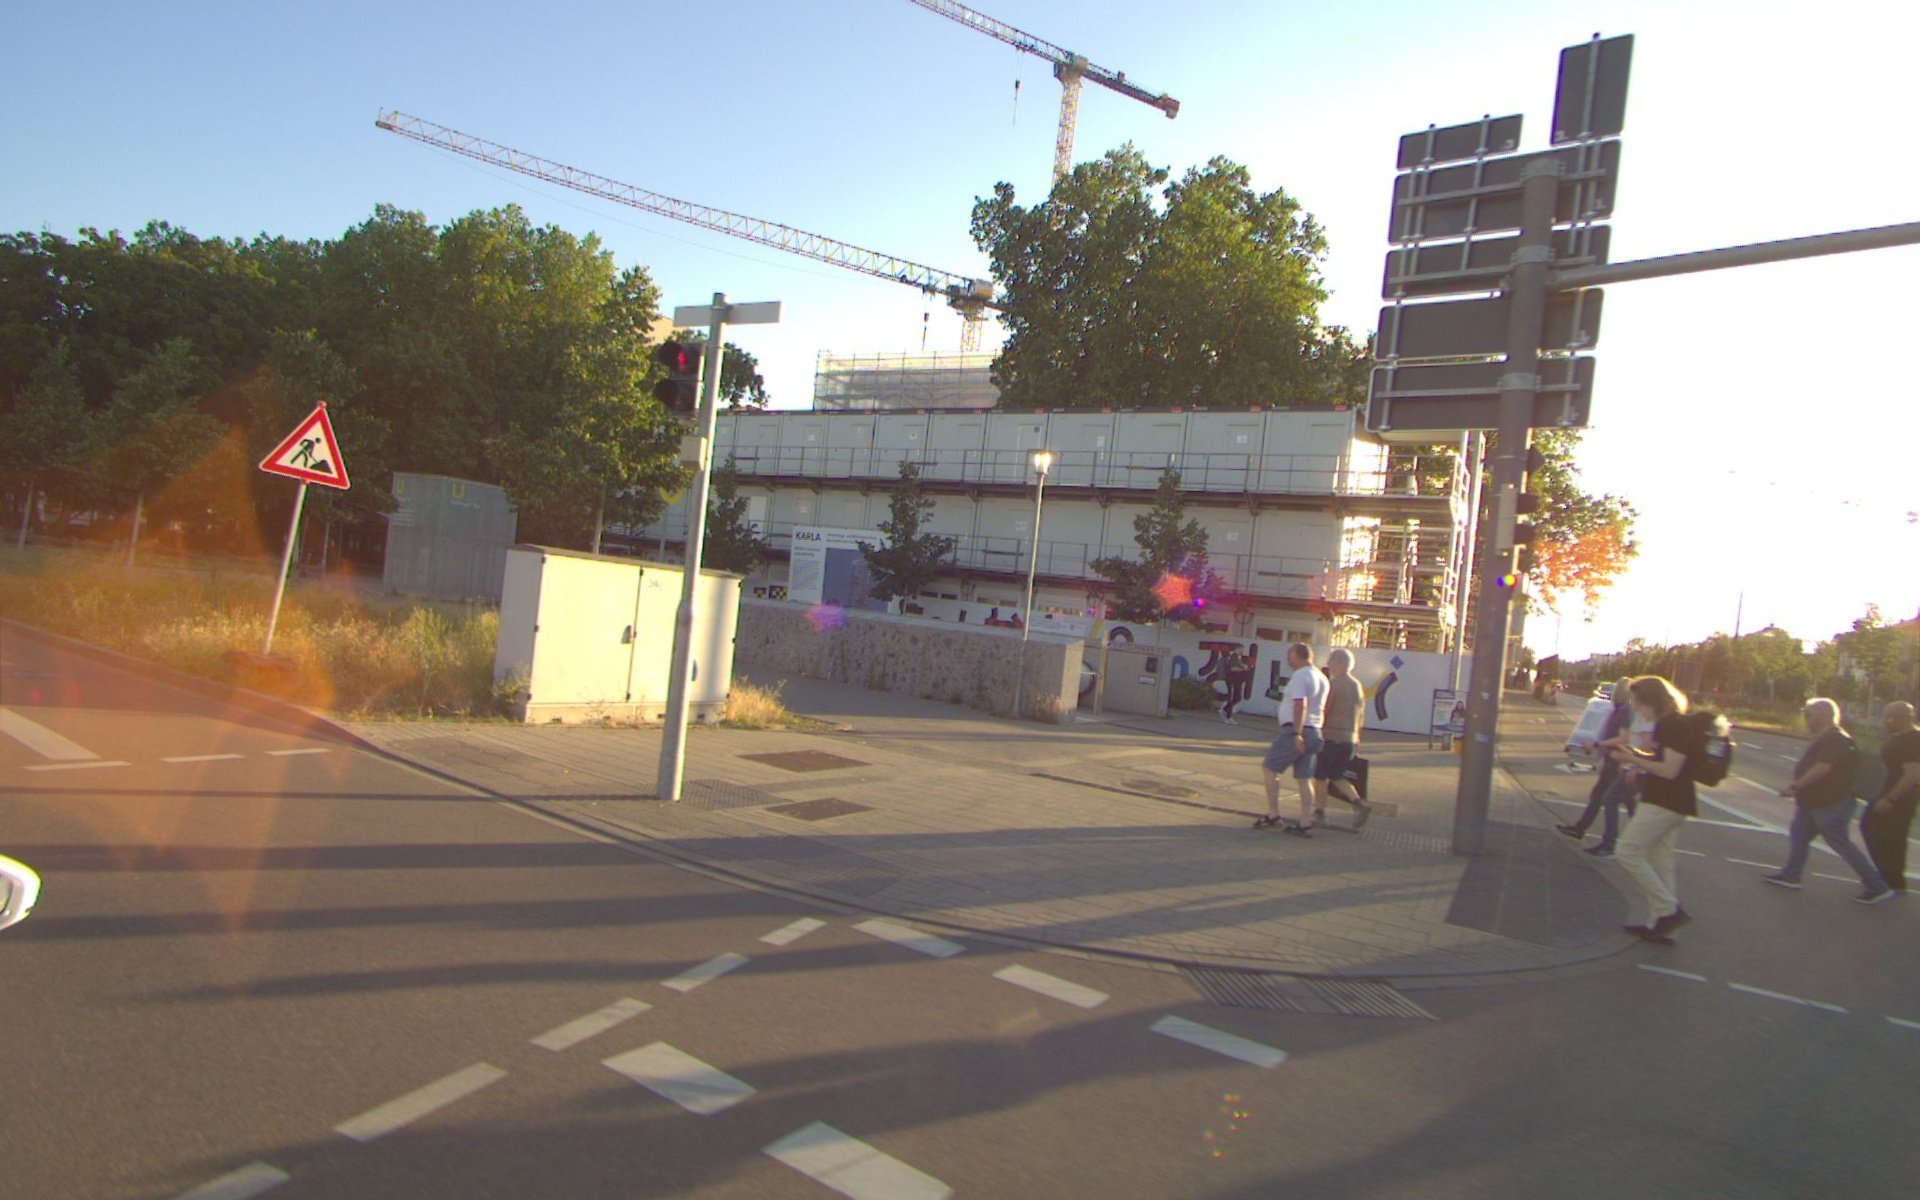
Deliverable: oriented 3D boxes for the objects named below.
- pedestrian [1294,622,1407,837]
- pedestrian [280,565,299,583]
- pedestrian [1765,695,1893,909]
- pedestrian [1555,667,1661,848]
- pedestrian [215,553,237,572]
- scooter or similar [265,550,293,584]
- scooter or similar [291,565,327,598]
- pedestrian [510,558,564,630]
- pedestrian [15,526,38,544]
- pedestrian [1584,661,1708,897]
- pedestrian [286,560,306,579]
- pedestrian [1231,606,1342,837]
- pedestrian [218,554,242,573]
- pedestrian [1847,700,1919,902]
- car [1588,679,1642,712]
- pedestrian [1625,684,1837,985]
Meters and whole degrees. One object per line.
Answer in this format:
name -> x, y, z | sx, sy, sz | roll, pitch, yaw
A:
pedestrian -> 3.787, 1.234, 9.760 | 0.640, 1.957, 0.612 | 5, 1, -42
pedestrian -> -46.887, -1.826, 70.317 | 0.753, 1.178, 0.787 | 5, 0, 28
pedestrian -> 7.671, 1.736, 8.916 | 0.751, 1.733, 0.642 | 2, -2, 35
pedestrian -> 6.784, 1.614, 10.542 | 0.750, 1.734, 0.642 | 6, 1, 34
pedestrian -> -55.361, -2.820, 75.886 | 0.714, 1.276, 1.131 | 5, 0, 35
scooter or similar -> -27.226, -1.316, 40.198 | 1.376, 1.237, 0.423 | 5, 3, 34
scooter or similar -> -26.697, -0.771, 41.246 | 1.547, 1.237, 0.473 | 5, 3, 27
pedestrian -> -11.633, -0.172, 27.661 | 1.031, 1.838, 0.813 | 6, 1, 38
pedestrian -> -53.374, -3.695, 57.519 | 0.582, 0.894, 0.682 | 6, -2, 9
pedestrian -> 6.294, 1.596, 9.252 | 0.750, 1.993, 0.642 | 6, 1, 35
pedestrian -> -46.134, -2.100, 69.888 | 0.753, 1.178, 0.787 | 5, 0, 28
pedestrian -> 2.968, 1.077, 9.127 | 0.610, 1.957, 0.642 | 6, 1, 35
pedestrian -> -54.638, -2.752, 75.288 | 0.891, 1.276, 1.131 | 5, 0, 35
pedestrian -> 8.768, 1.850, 9.385 | 0.567, 1.767, 0.642 | 4, -1, 35
car -> 37.717, 5.494, 58.025 | 1.965, 1.549, 3.996 | 6, -1, 26
pedestrian -> 4.823, 1.411, 6.365 | 0.856, 1.648, 0.643 | 6, 1, 32
